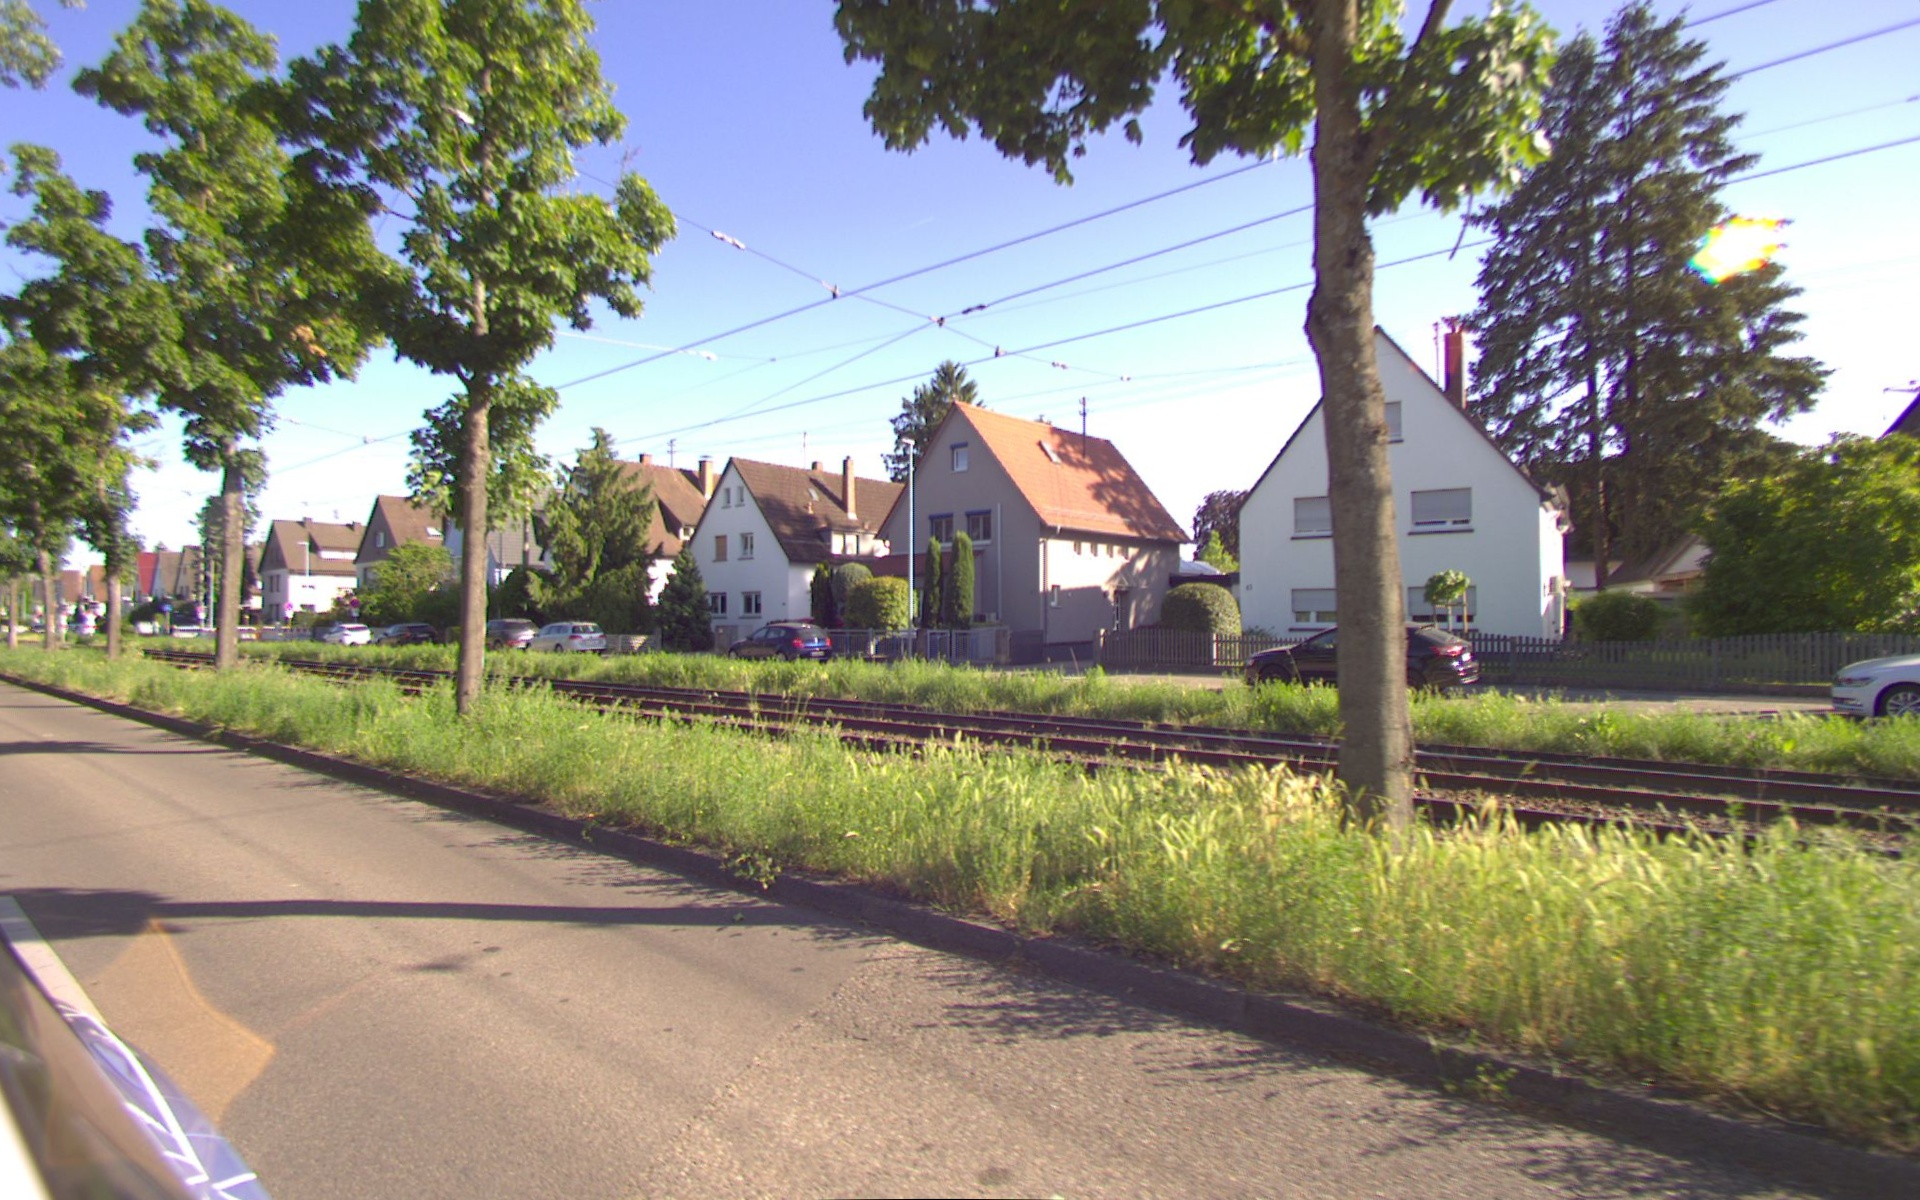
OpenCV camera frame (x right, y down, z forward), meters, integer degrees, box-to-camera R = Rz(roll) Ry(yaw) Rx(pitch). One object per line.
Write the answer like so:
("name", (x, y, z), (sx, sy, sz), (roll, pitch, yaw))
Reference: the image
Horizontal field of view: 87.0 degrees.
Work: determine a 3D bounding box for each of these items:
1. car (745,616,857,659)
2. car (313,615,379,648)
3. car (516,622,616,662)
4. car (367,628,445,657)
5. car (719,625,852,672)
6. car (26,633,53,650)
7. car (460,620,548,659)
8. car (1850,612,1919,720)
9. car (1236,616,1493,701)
("car", (-6.328, 1.474, 40.679), (1.746, 1.481, 4.433), (-1, 1, 39))
("car", (-35.701, 1.819, 58.802), (4.582, 1.877, 1.972), (-2, -2, 41))
("car", (-16.388, 1.719, 42.002), (4.837, 1.483, 1.864), (-2, 0, 42))
("car", (-28.953, 2.193, 52.821), (4.980, 1.351, 1.973), (-1, 0, 41))
("car", (-5.637, 1.521, 32.377), (4.308, 1.382, 1.972), (-2, -2, 42))
("car", (-96.477, 4.377, 106.073), (3.999, 1.697, 1.762), (-2, -2, 42))
("car", (-20.367, 1.743, 45.120), (4.534, 1.573, 1.864), (-2, 0, 41))
("car", (15.403, 0.924, 13.952), (4.610, 1.483, 1.865), (-1, 0, 40))
("car", (8.034, 1.090, 20.336), (4.439, 1.477, 1.887), (-1, 0, 41))
